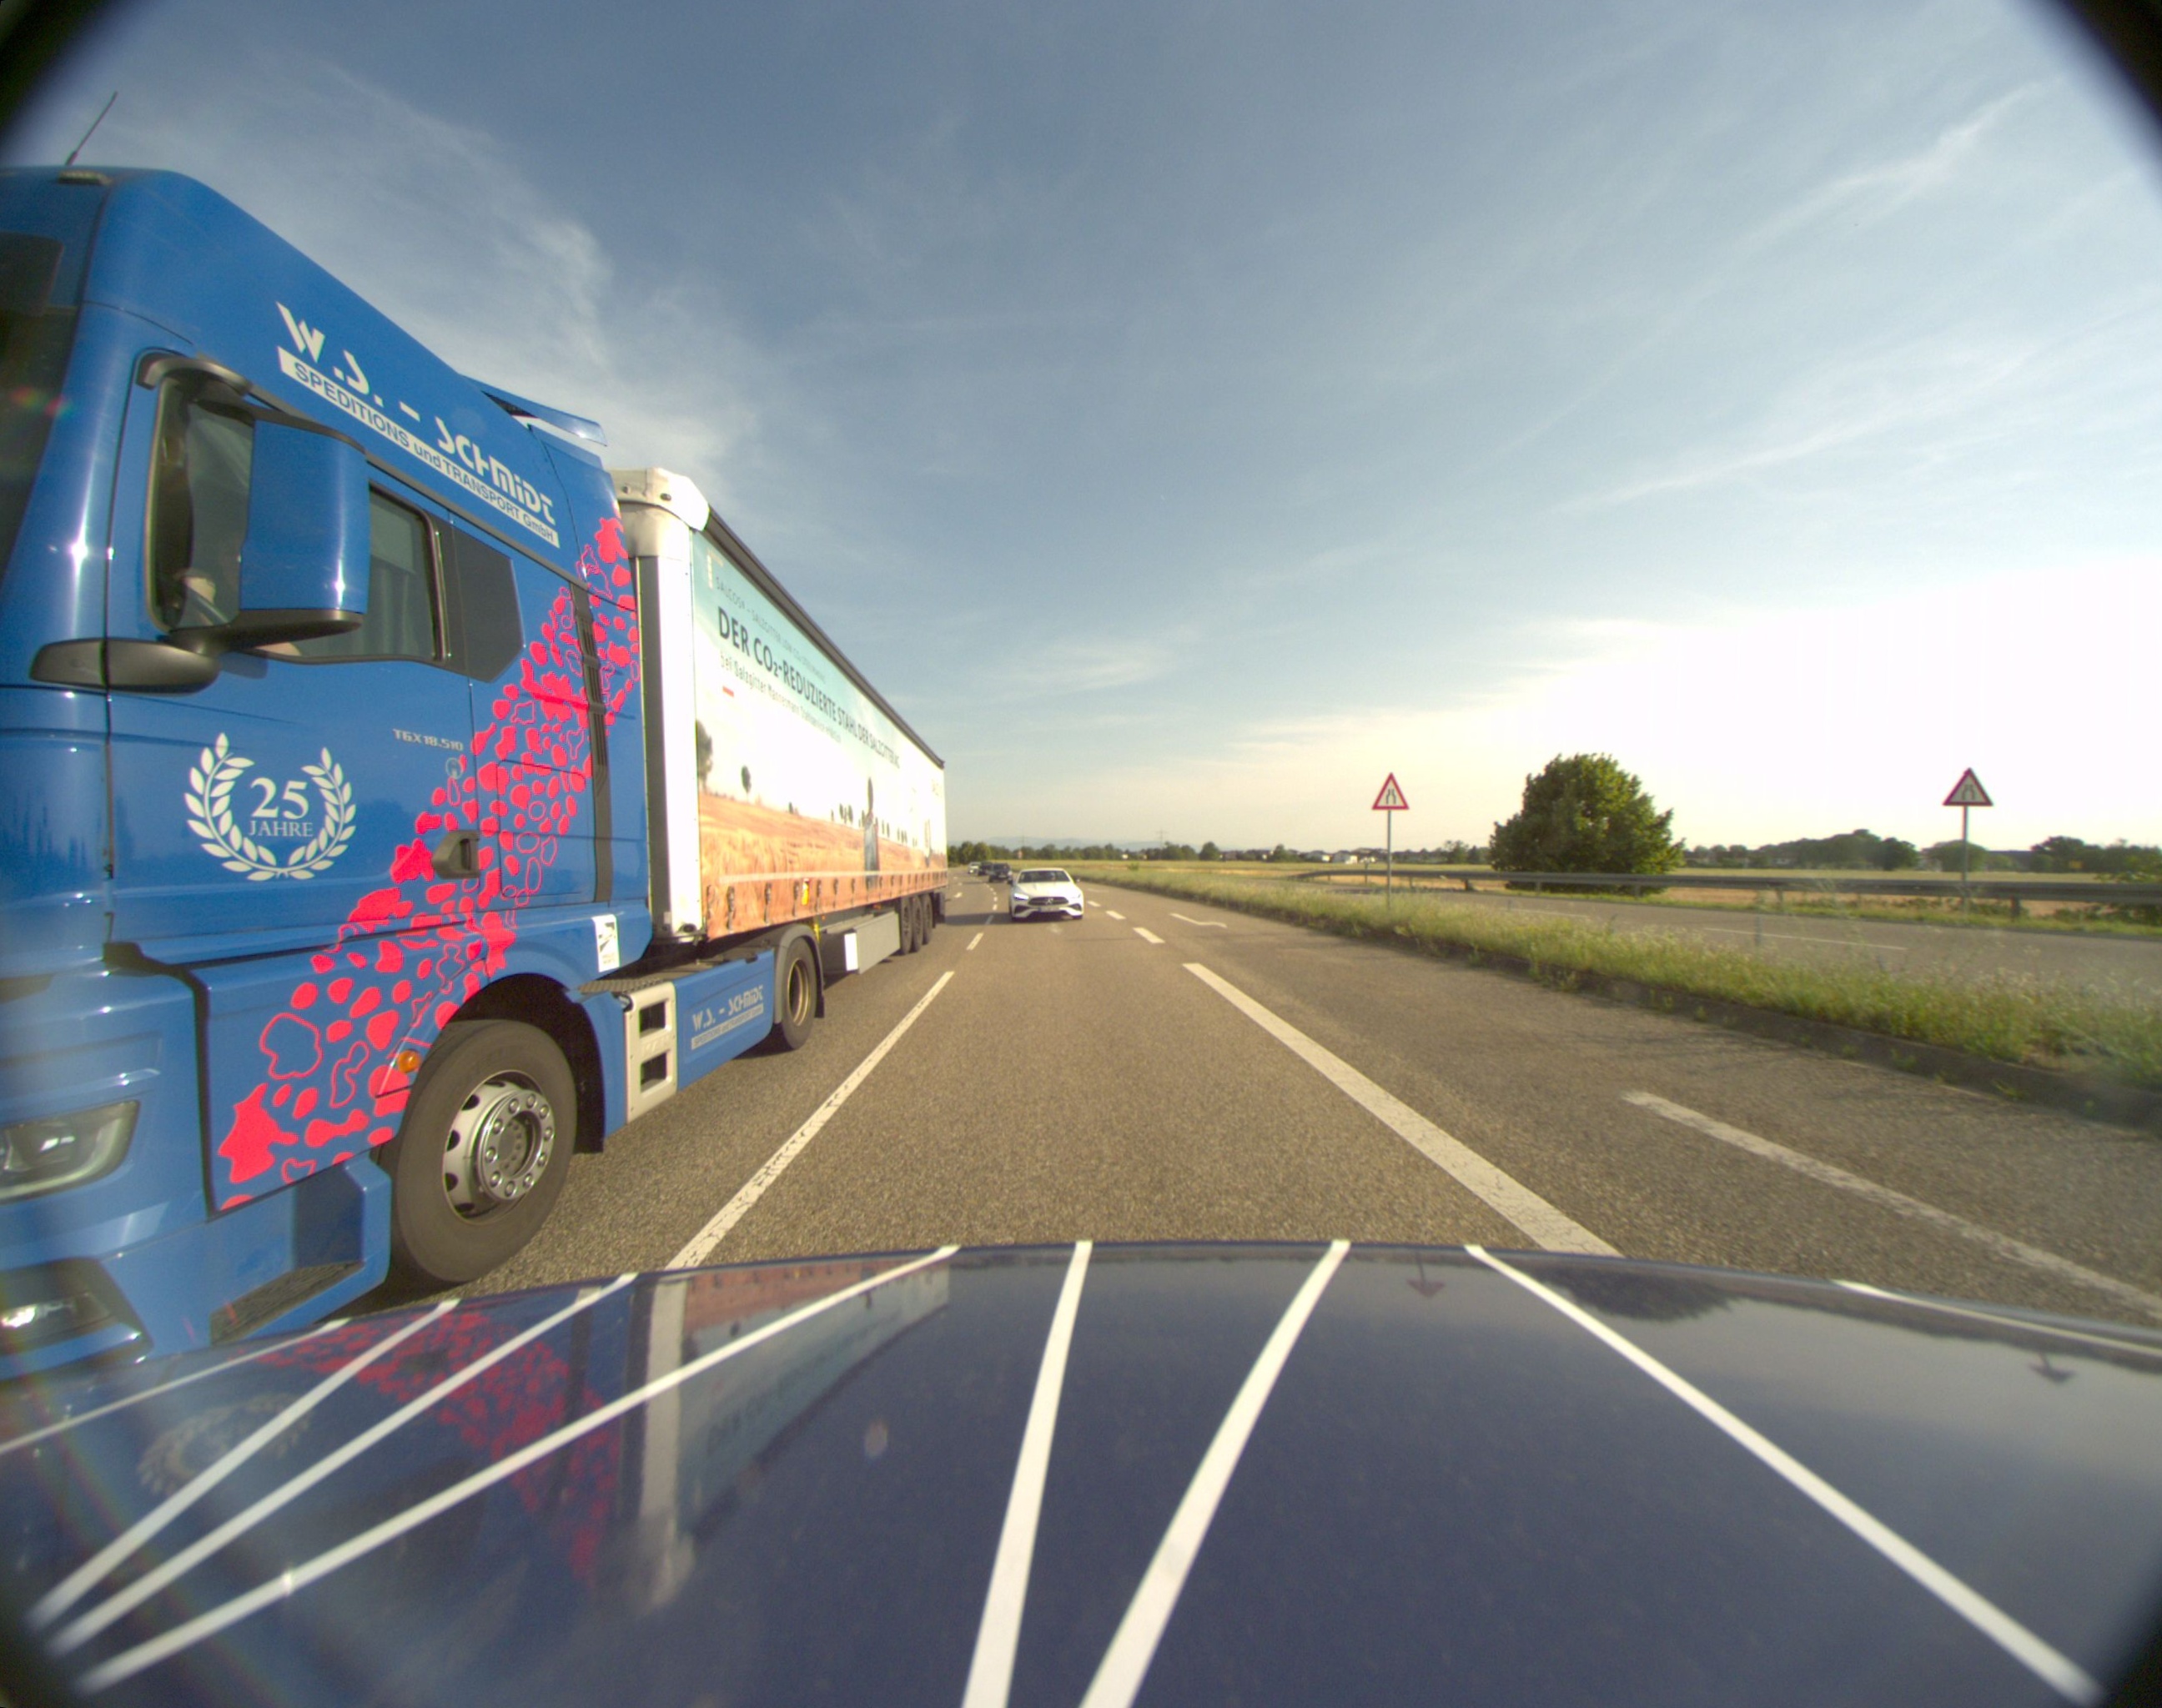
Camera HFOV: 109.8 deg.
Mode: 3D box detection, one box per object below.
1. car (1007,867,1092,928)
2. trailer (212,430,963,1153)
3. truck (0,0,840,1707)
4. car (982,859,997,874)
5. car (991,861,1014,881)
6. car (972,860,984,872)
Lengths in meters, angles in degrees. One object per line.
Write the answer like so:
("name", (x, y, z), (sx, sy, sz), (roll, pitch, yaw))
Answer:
("car", (-0.970, 1.110, 20.882), (1.942, 1.389, 3.916), (-2, 0, -8))
("trailer", (-4.201, -0.446, 11.550), (3.290, 4.654, 13.143), (-2, 0, -3))
("truck", (-3.820, -0.462, 4.105), (3.309, 4.630, 5.730), (-2, 0, -3))
("car", (-9.988, 1.363, 82.464), (1.558, 1.550, 3.047), (-1, 0, -8))
("car", (-6.010, 1.282, 58.198), (1.585, 1.496, 3.658), (-1, 0, -8))
("car", (-13.438, 1.539, 98.945), (1.558, 1.391, 4.033), (-1, 0, -8))
